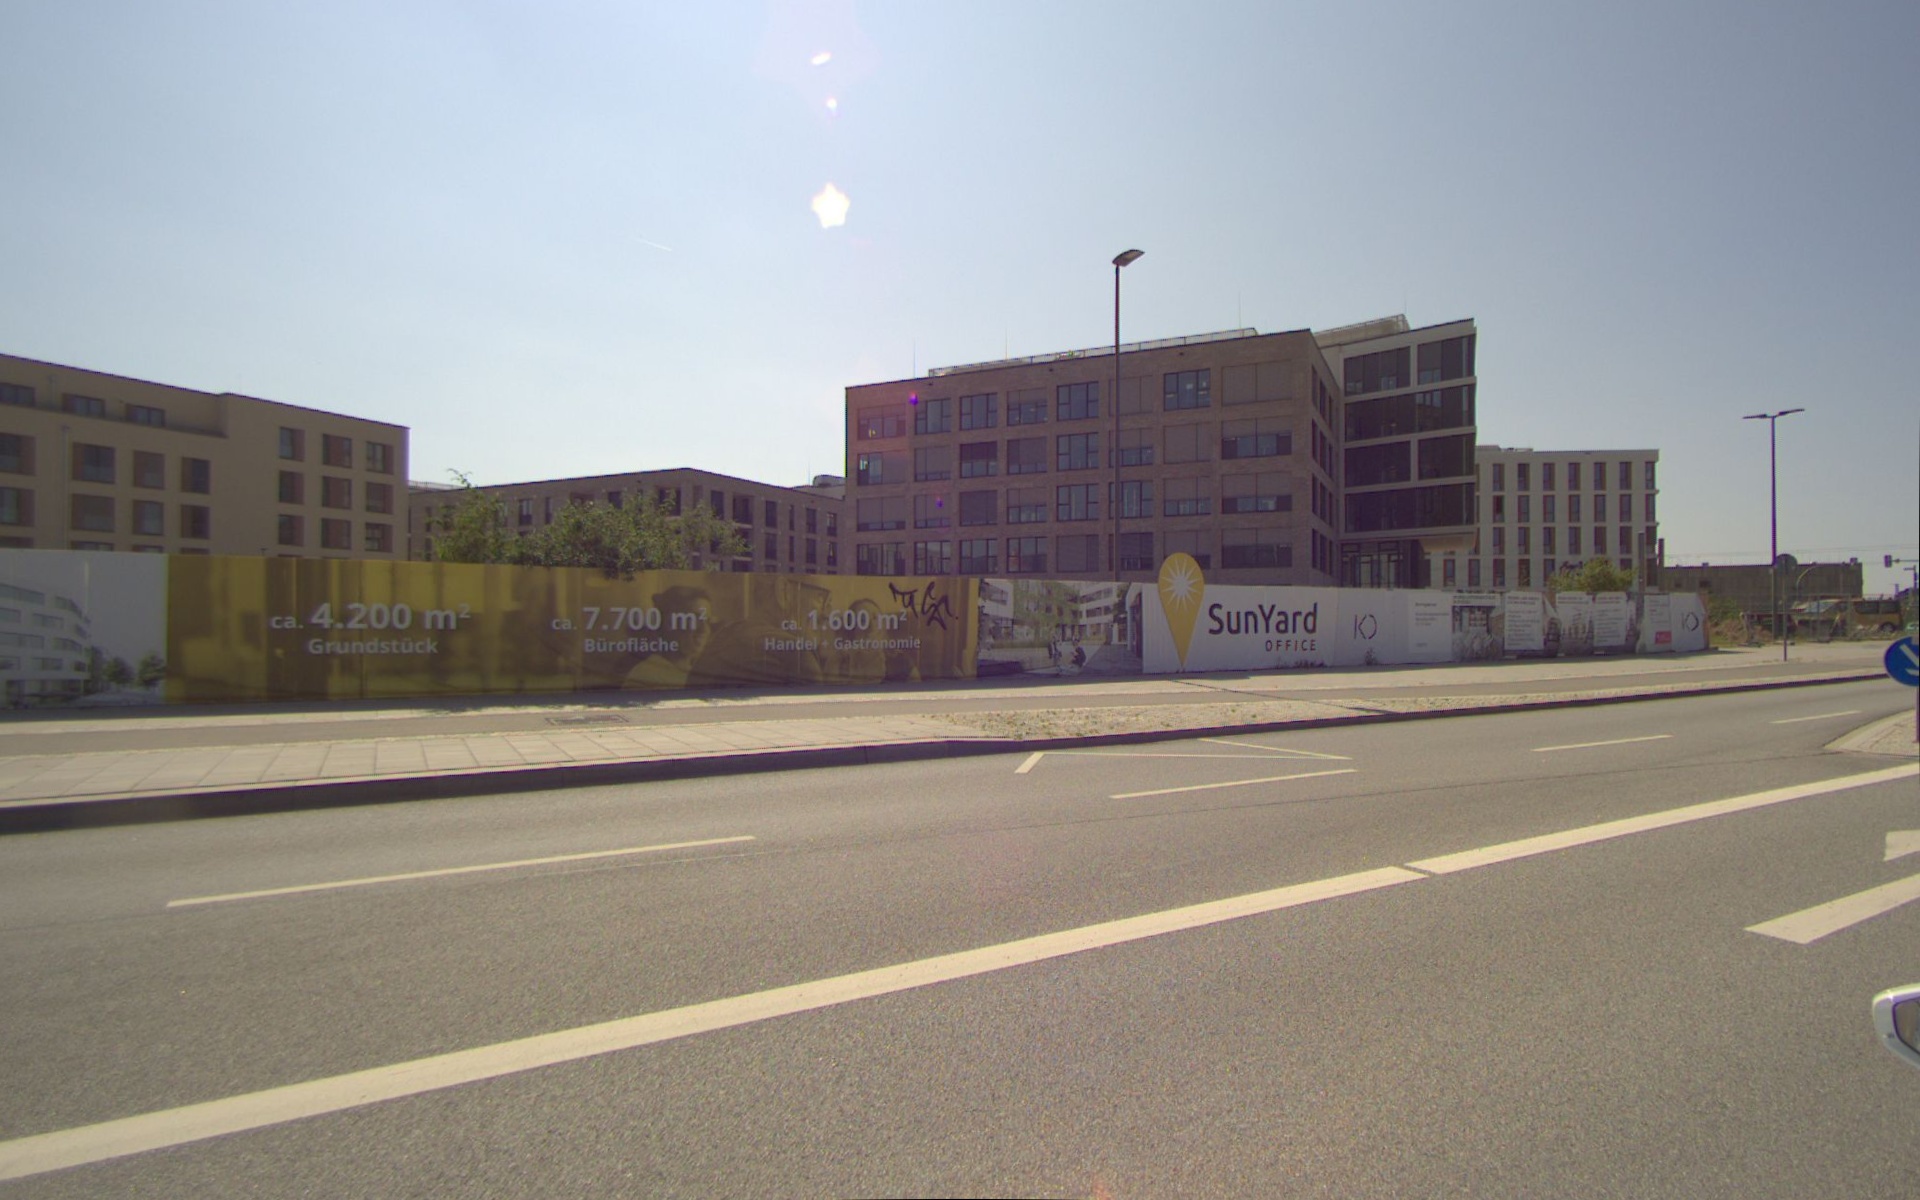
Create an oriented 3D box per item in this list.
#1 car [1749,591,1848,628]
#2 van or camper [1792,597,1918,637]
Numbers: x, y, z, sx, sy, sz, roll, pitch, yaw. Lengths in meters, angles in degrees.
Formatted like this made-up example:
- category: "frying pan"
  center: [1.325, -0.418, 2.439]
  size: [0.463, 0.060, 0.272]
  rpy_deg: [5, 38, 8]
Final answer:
- category: "car"
  center: [48.322, 0.553, 57.944]
  size: [3.919, 2.040, 2.001]
  rpy_deg: [0, 0, 9]
- category: "van or camper"
  center: [48.274, 0.897, 54.270]
  size: [4.622, 1.922, 2.001]
  rpy_deg: [2, 0, 13]
